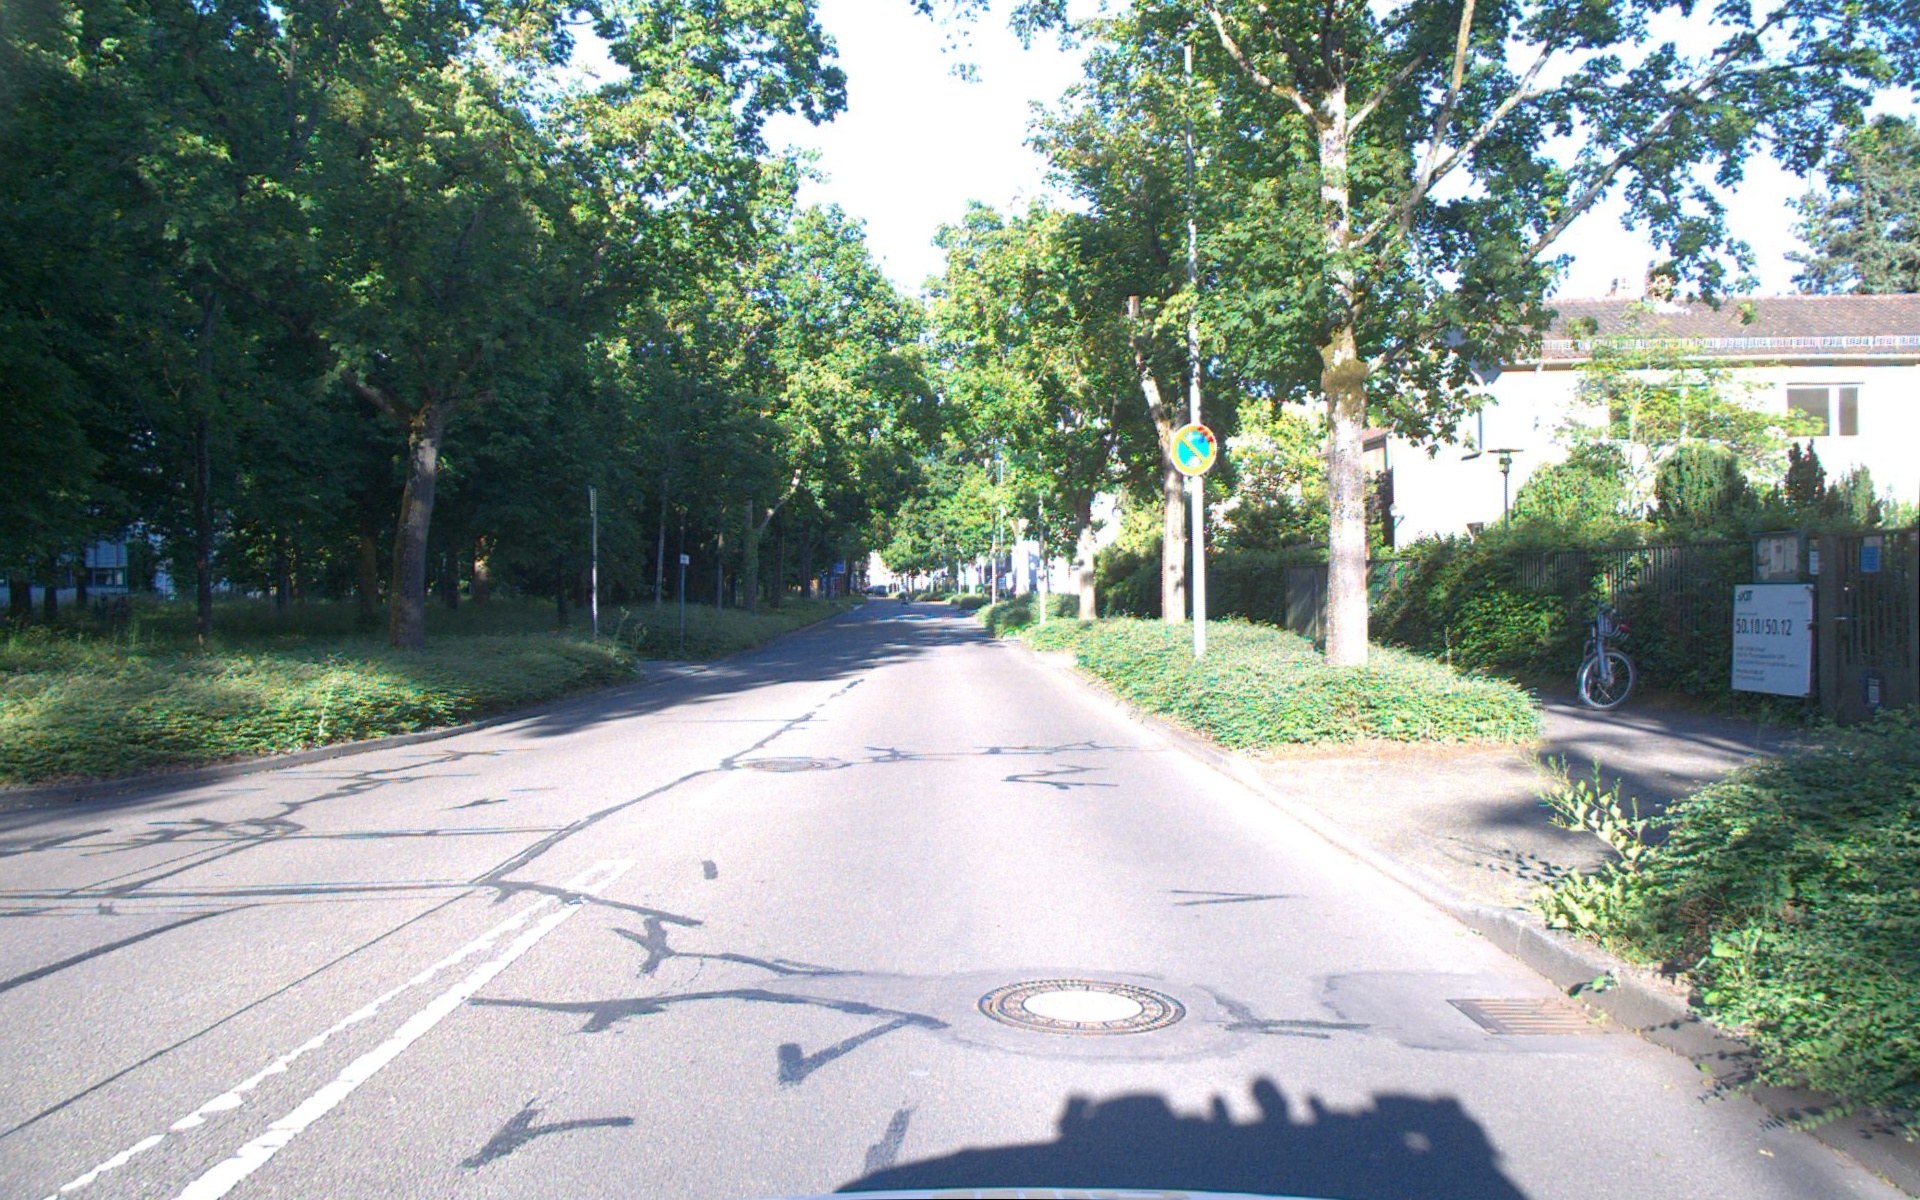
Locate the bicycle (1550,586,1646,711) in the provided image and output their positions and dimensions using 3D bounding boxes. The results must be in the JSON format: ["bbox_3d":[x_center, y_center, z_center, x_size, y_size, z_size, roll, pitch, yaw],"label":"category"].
[{"bbox_3d":[6.997,0.495,18.083,0.865,1.221,2.326,-2,1,23],"label":"bicycle"}]

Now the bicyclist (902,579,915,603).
[{"bbox_3d":[-3.573,-0.642,115.235,0.849,1.669,1.114,1,1,-2],"label":"bicyclist"}]

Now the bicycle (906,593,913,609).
[{"bbox_3d":[-3.517,0.066,115.299,0.430,0.995,1.661,0,2,-2],"label":"bicycle"}]

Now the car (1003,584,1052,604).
[{"bbox_3d":[6.040,-0.534,147.590,4.259,1.377,2.145,3,4,4],"label":"car"}]
